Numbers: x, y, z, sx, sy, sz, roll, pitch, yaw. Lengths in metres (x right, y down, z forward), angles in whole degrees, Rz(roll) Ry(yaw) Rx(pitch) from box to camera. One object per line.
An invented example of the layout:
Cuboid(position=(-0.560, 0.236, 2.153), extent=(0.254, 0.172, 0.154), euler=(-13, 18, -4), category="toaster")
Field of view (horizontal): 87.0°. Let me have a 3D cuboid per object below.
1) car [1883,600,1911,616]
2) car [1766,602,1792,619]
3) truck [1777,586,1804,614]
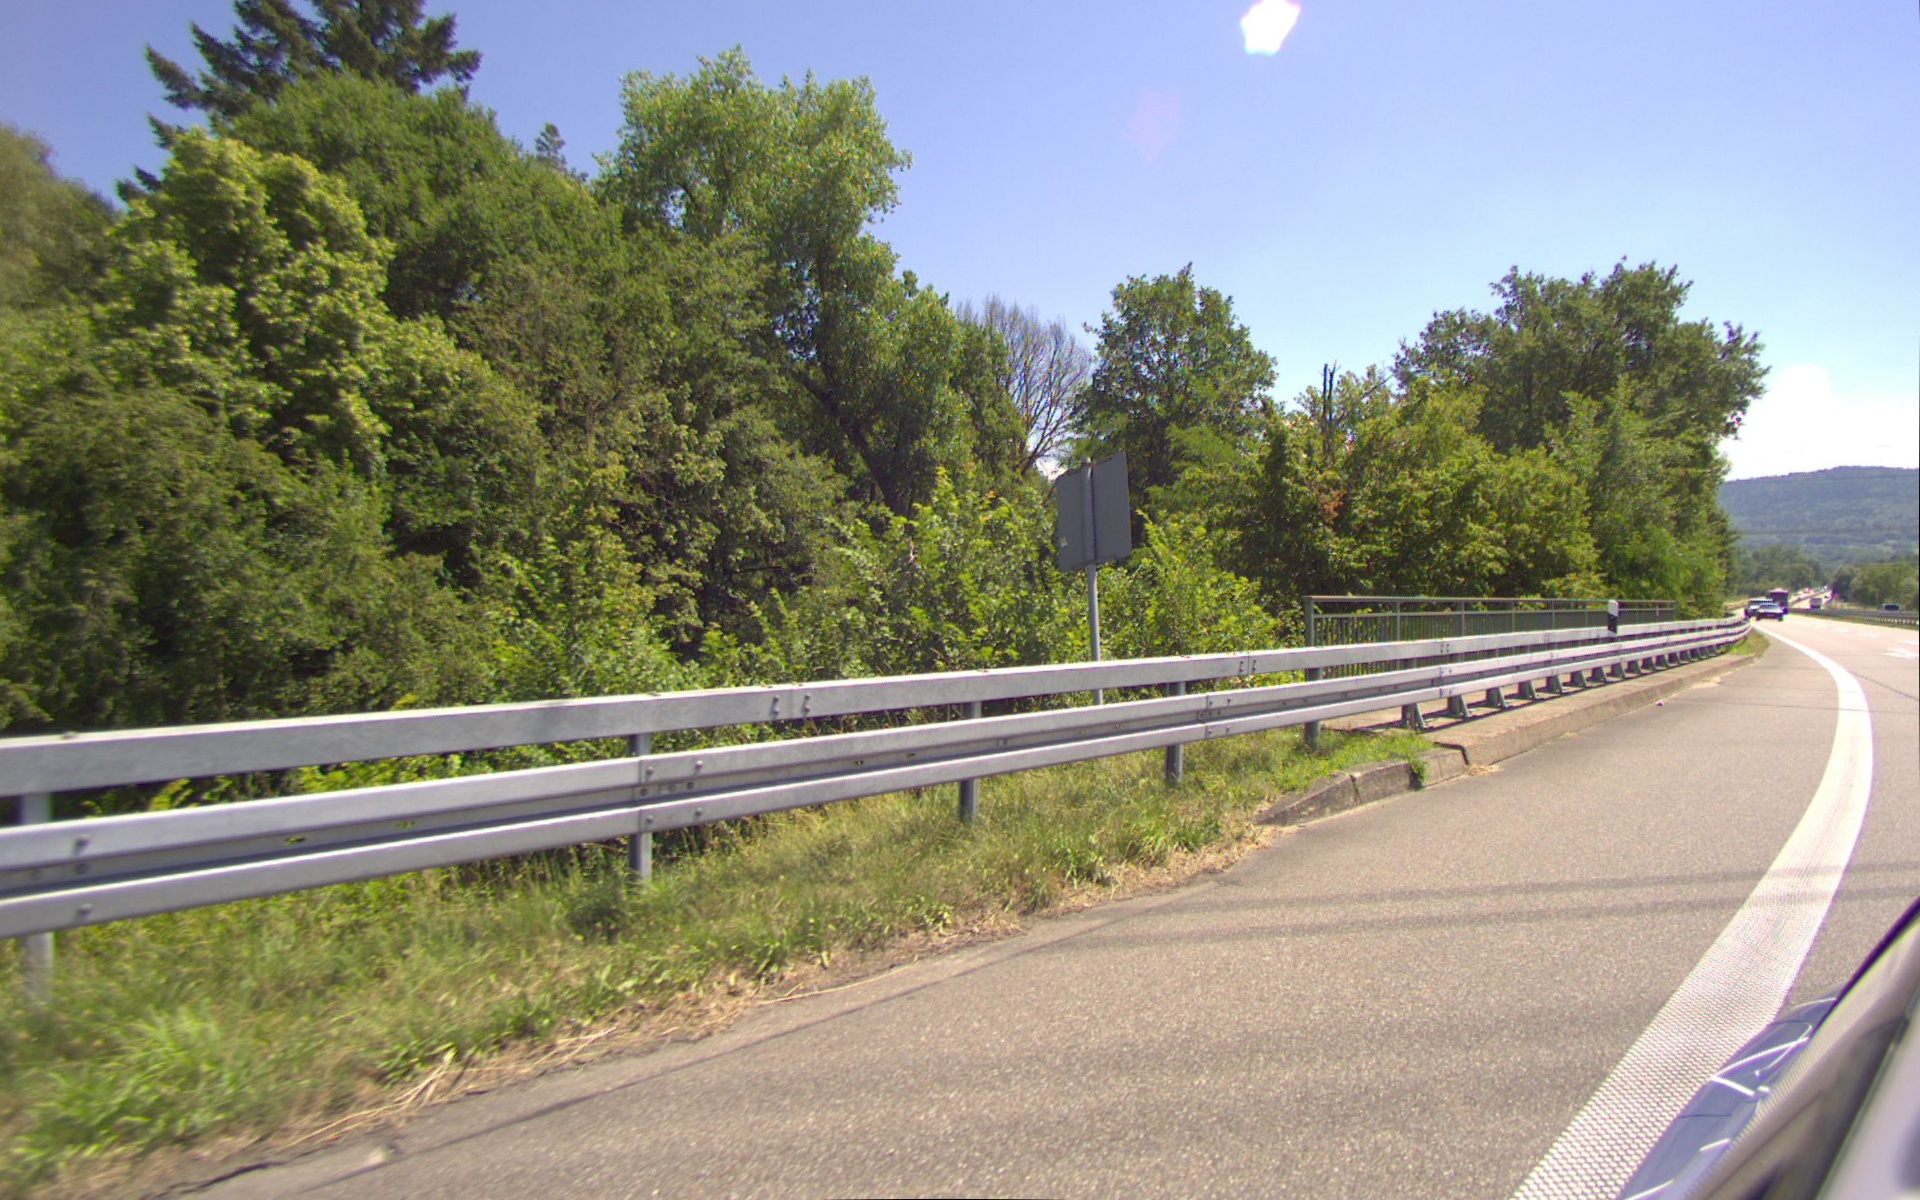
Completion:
Cuboid(position=(123.546, 1.052, 133.482), extent=(1.885, 2.017, 5.462), euler=(2, 1, 35), category="car")
Cuboid(position=(71.084, 0.872, 87.795), extent=(1.573, 1.412, 3.432), euler=(1, 1, 42), category="car")
Cuboid(position=(127.219, -0.043, 154.926), extent=(2.818, 4.219, 9.797), euler=(1, 1, 42), category="truck")
